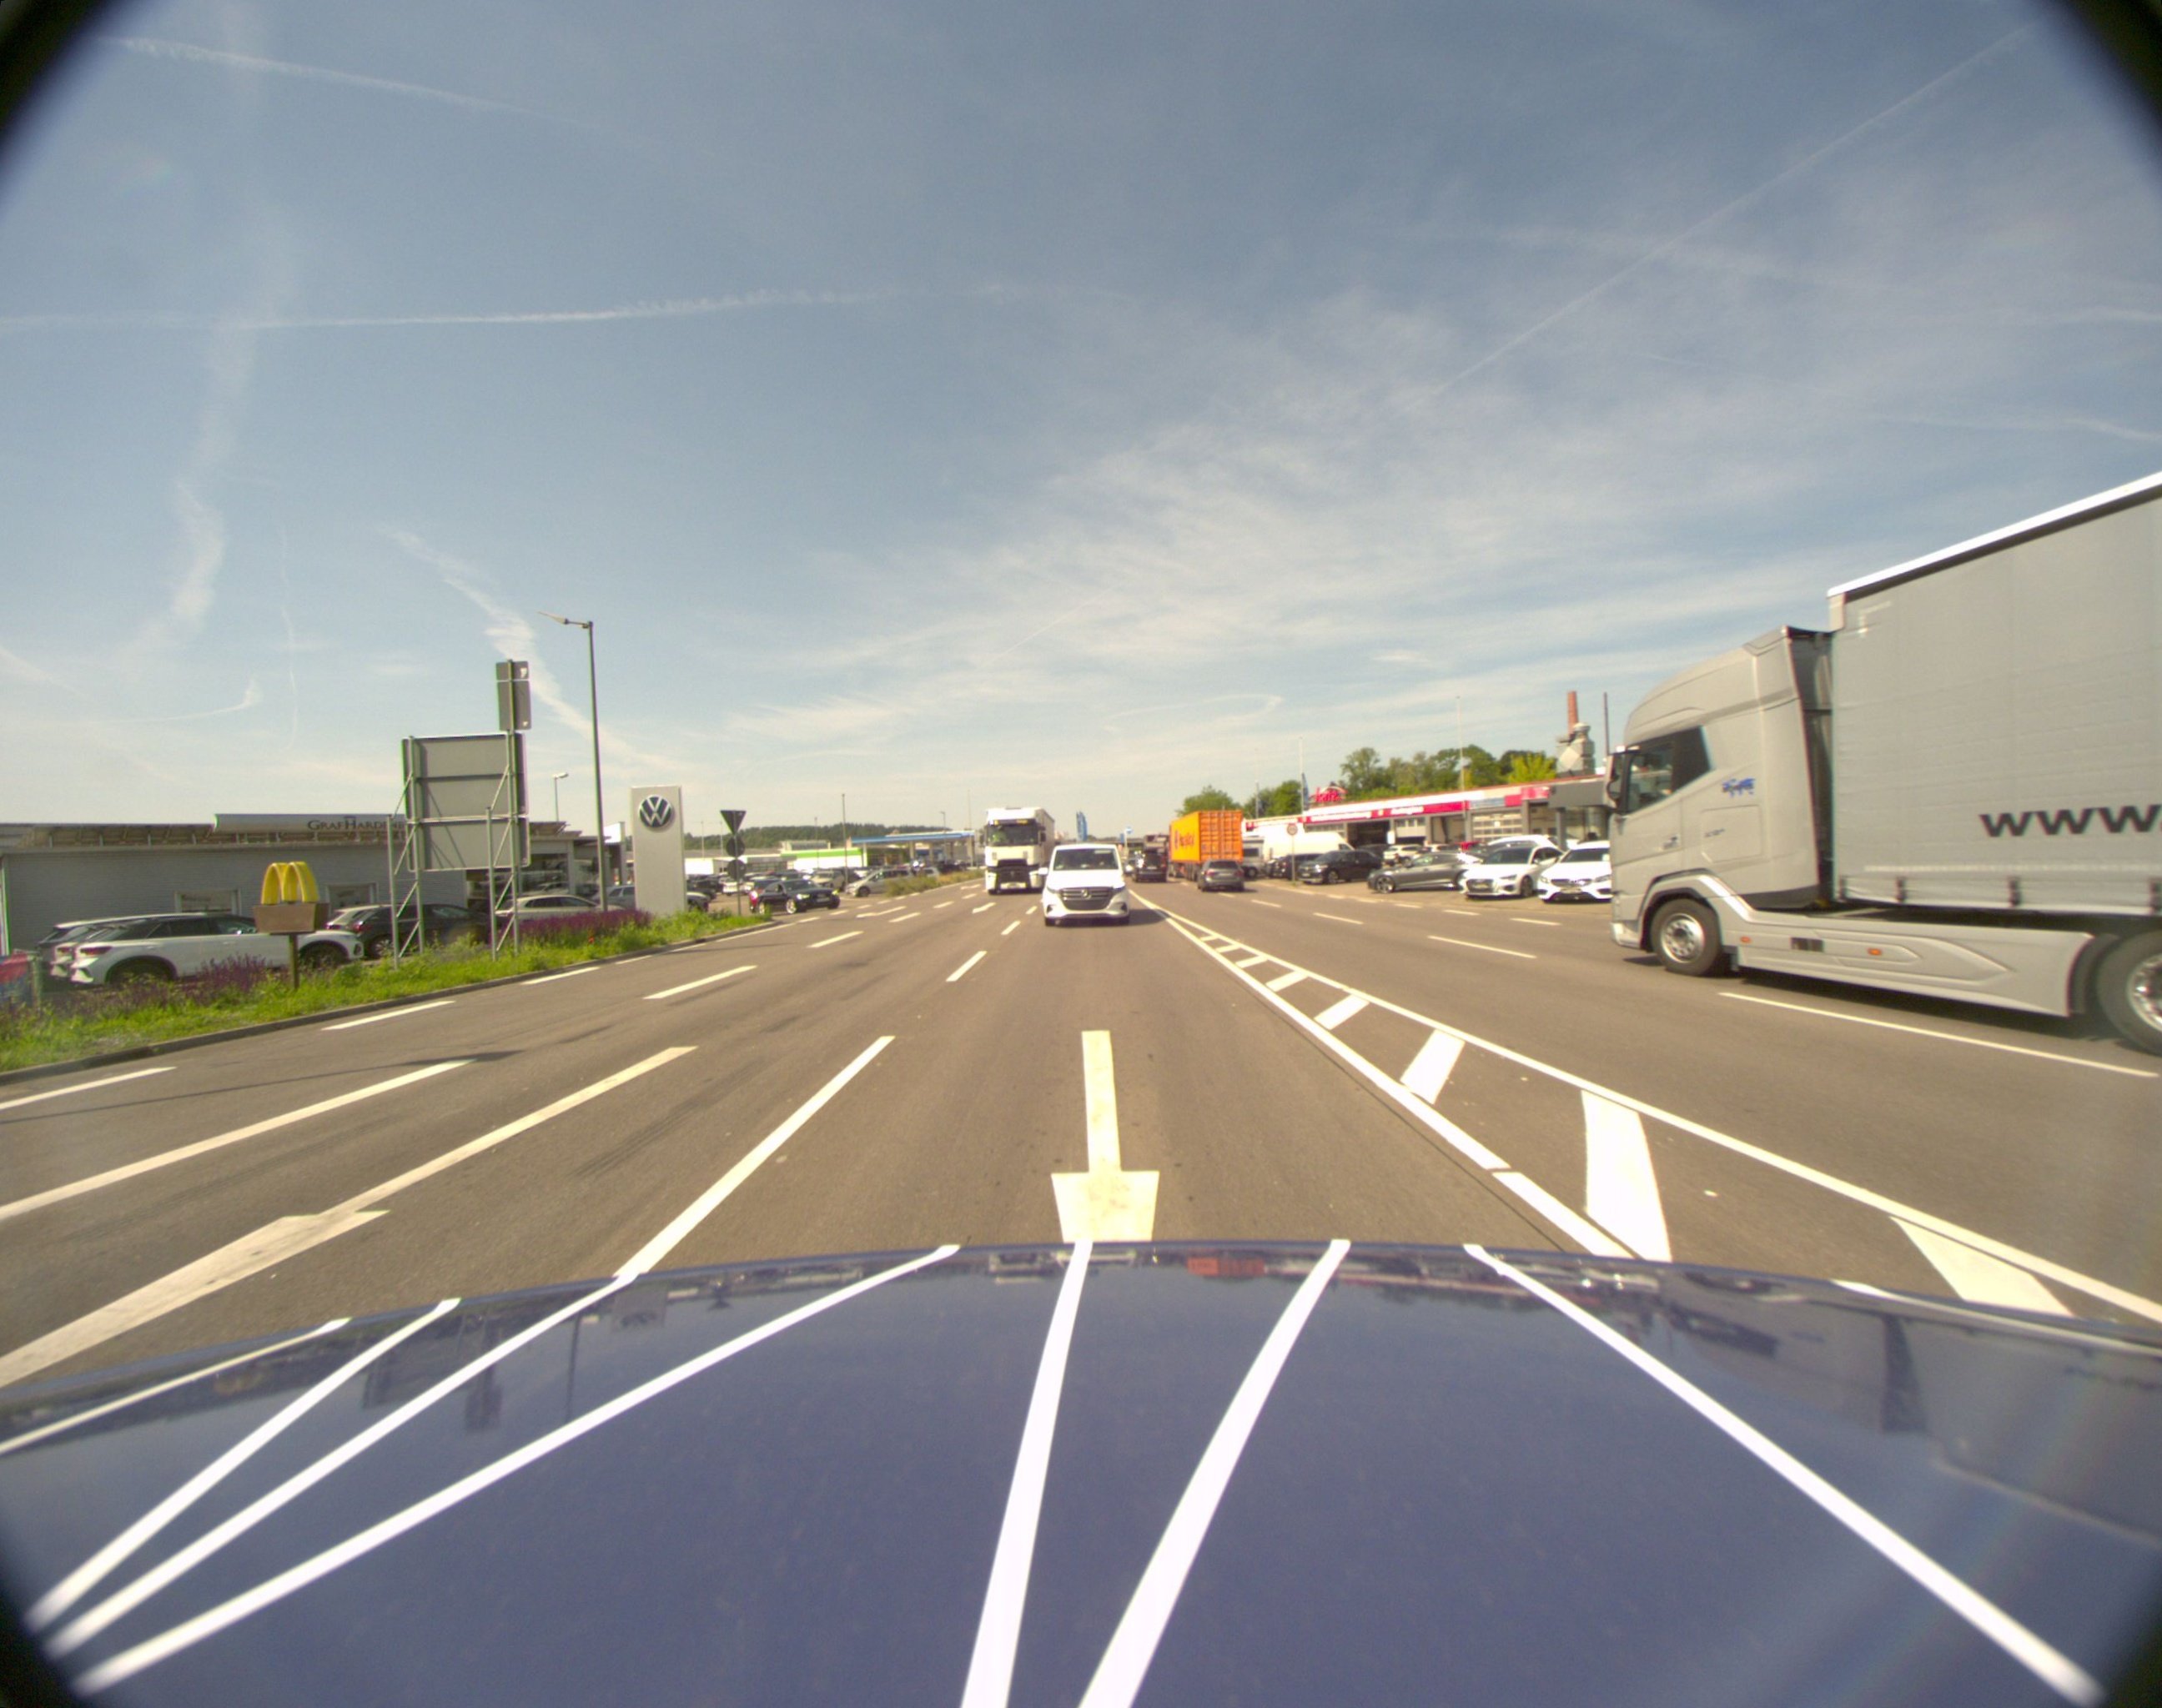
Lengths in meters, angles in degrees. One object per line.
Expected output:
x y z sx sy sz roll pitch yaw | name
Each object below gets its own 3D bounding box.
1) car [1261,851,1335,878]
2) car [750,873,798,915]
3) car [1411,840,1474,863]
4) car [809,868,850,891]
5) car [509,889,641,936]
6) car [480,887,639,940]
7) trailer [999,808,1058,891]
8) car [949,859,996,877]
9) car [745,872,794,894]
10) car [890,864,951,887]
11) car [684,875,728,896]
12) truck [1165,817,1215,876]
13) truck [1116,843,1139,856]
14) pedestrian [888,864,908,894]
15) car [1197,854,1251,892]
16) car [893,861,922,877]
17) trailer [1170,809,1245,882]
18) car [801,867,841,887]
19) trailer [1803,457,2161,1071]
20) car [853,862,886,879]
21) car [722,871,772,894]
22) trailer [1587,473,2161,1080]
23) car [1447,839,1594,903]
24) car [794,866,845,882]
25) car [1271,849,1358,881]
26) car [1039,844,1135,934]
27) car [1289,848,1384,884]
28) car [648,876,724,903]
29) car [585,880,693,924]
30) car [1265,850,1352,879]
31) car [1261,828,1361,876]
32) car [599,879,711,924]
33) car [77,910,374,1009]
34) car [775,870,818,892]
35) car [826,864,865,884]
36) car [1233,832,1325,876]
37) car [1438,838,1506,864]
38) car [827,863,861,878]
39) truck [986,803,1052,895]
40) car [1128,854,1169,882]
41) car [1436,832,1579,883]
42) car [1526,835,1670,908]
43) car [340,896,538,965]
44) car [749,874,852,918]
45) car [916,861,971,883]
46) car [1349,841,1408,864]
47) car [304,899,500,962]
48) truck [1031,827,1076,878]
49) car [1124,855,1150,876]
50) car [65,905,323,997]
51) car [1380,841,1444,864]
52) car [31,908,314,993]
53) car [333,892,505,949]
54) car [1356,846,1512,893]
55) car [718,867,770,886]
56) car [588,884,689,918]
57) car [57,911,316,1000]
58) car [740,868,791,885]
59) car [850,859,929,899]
13.133 0.621 46.112 3.996 1.461 1.881 -2 0 3 | car
-14.483 1.830 35.734 1.778 1.645 4.069 -4 1 -25 | car
25.896 -0.155 54.449 3.948 1.511 1.880 -2 0 -21 | car
-20.539 2.079 62.289 1.908 1.645 4.708 -2 0 -3 | car
-19.380 2.181 29.213 1.745 1.467 3.803 -1 0 37 | car
-18.384 2.022 26.956 1.744 1.483 4.272 -1 0 37 | car
-2.873 -0.251 44.645 2.613 4.203 11.290 -2 0 -1 | trailer
-11.374 1.446 79.959 4.543 1.645 1.772 -2 0 -25 | car
-26.115 2.387 63.866 1.774 1.645 4.540 -2 0 6 | car
-11.801 1.541 55.801 4.005 1.549 1.709 -2 0 -27 | car
-33.561 2.779 68.101 1.775 1.645 4.536 -2 0 -3 | car
7.818 -0.545 55.158 2.727 3.975 6.057 -2 0 1 | truck
10.399 -0.927 170.027 2.447 2.820 6.028 -2 0 -27 | truck
-11.679 1.582 48.375 0.990 1.900 0.742 -2 1 -33 | pedestrian
6.308 0.815 33.901 1.925 1.593 4.591 -1 0 5 | car
-19.636 1.689 86.180 1.774 1.571 4.540 -2 0 6 | car
7.667 -0.489 47.944 2.727 3.975 12.234 -2 0 1 | trailer
-23.268 2.025 68.254 1.774 1.645 4.434 -2 0 4 | car
8.789 -0.623 0.653 2.699 4.123 13.876 -2 0 -2 | trailer
-22.549 1.761 81.134 1.774 1.645 4.540 -2 0 6 | car
-28.611 2.450 65.231 1.821 1.719 4.540 -2 0 6 | car
8.526 -0.547 7.556 2.652 4.081 6.179 -2 0 -2 | trailer
13.635 0.481 23.492 4.722 1.467 1.888 -5 1 -33 | car
-26.771 2.005 77.741 4.530 1.450 1.951 -2 0 12 | car
12.438 0.565 40.695 4.044 1.521 2.031 -2 0 0 | car
0.163 0.738 19.022 1.993 1.858 5.803 -2 0 1 | car
12.574 0.561 37.420 4.189 1.613 2.026 -2 0 -27 | car
-26.138 2.331 50.340 4.084 1.598 1.689 -2 -1 -41 | car
-19.903 2.111 34.276 4.007 1.661 1.916 -2 0 -36 | car
12.986 0.580 43.557 4.378 1.521 2.029 -2 0 0 | car
14.587 -0.082 48.433 5.722 2.821 2.117 -2 0 2 | car
-18.206 1.989 32.587 4.031 1.661 1.772 -2 0 -30 | car
-19.001 2.225 17.084 1.855 1.567 4.242 -1 0 37 | car
-23.177 2.174 62.091 1.968 1.645 4.536 -2 0 -3 | car
-21.000 1.752 67.944 1.774 1.645 4.539 -2 0 4 | car
13.168 0.008 50.815 5.579 2.756 2.177 -2 1 2 | car
26.832 -0.227 52.136 4.004 1.608 1.914 -2 0 -21 | car
-27.197 1.877 87.301 1.773 1.645 4.541 -2 0 10 | car
-2.836 -0.231 36.386 2.647 3.963 6.041 -2 0 -1 | truck
3.932 0.795 45.245 1.913 1.593 4.588 0 0 -2 | car
16.753 0.168 29.998 1.896 1.738 4.458 -3 0 -43 | car
14.310 0.434 20.928 4.723 1.504 1.950 -6 1 -39 | car
-18.655 2.146 22.246 1.771 1.523 4.098 -1 0 37 | car
-11.238 1.714 30.247 1.969 1.325 4.805 -8 2 -44 | car
-11.142 1.442 61.690 4.006 1.645 1.772 -2 0 -32 | car
23.455 -0.111 60.010 4.002 1.610 1.873 -2 0 -17 | car
-20.711 2.265 23.345 1.791 1.442 4.163 -1 0 37 | car
-2.182 -0.111 64.728 2.646 3.963 9.242 -2 0 5 | truck
4.245 0.844 58.257 1.866 1.515 4.589 -1 0 2 | car
-21.328 2.233 18.427 1.771 1.661 3.917 -1 0 37 | car
24.823 -0.102 57.101 4.002 1.597 1.986 -2 0 -15 | car
-24.777 2.512 20.948 1.907 1.661 4.828 -1 0 37 | car
-21.921 2.127 25.297 1.771 1.509 3.968 -1 0 37 | car
12.567 0.596 27.255 4.629 1.428 1.978 -4 0 44 | car
-32.831 2.180 74.132 1.819 1.574 4.545 -1 0 23 | car
-22.469 2.332 38.652 4.121 1.402 1.818 -2 0 -40 | car
-22.873 2.498 19.593 1.771 1.661 4.178 -1 0 37 | car
-30.412 2.152 73.382 1.819 1.423 4.491 -1 0 23 | car
-11.802 1.495 46.869 4.355 2.200 1.760 -2 1 -29 | car
